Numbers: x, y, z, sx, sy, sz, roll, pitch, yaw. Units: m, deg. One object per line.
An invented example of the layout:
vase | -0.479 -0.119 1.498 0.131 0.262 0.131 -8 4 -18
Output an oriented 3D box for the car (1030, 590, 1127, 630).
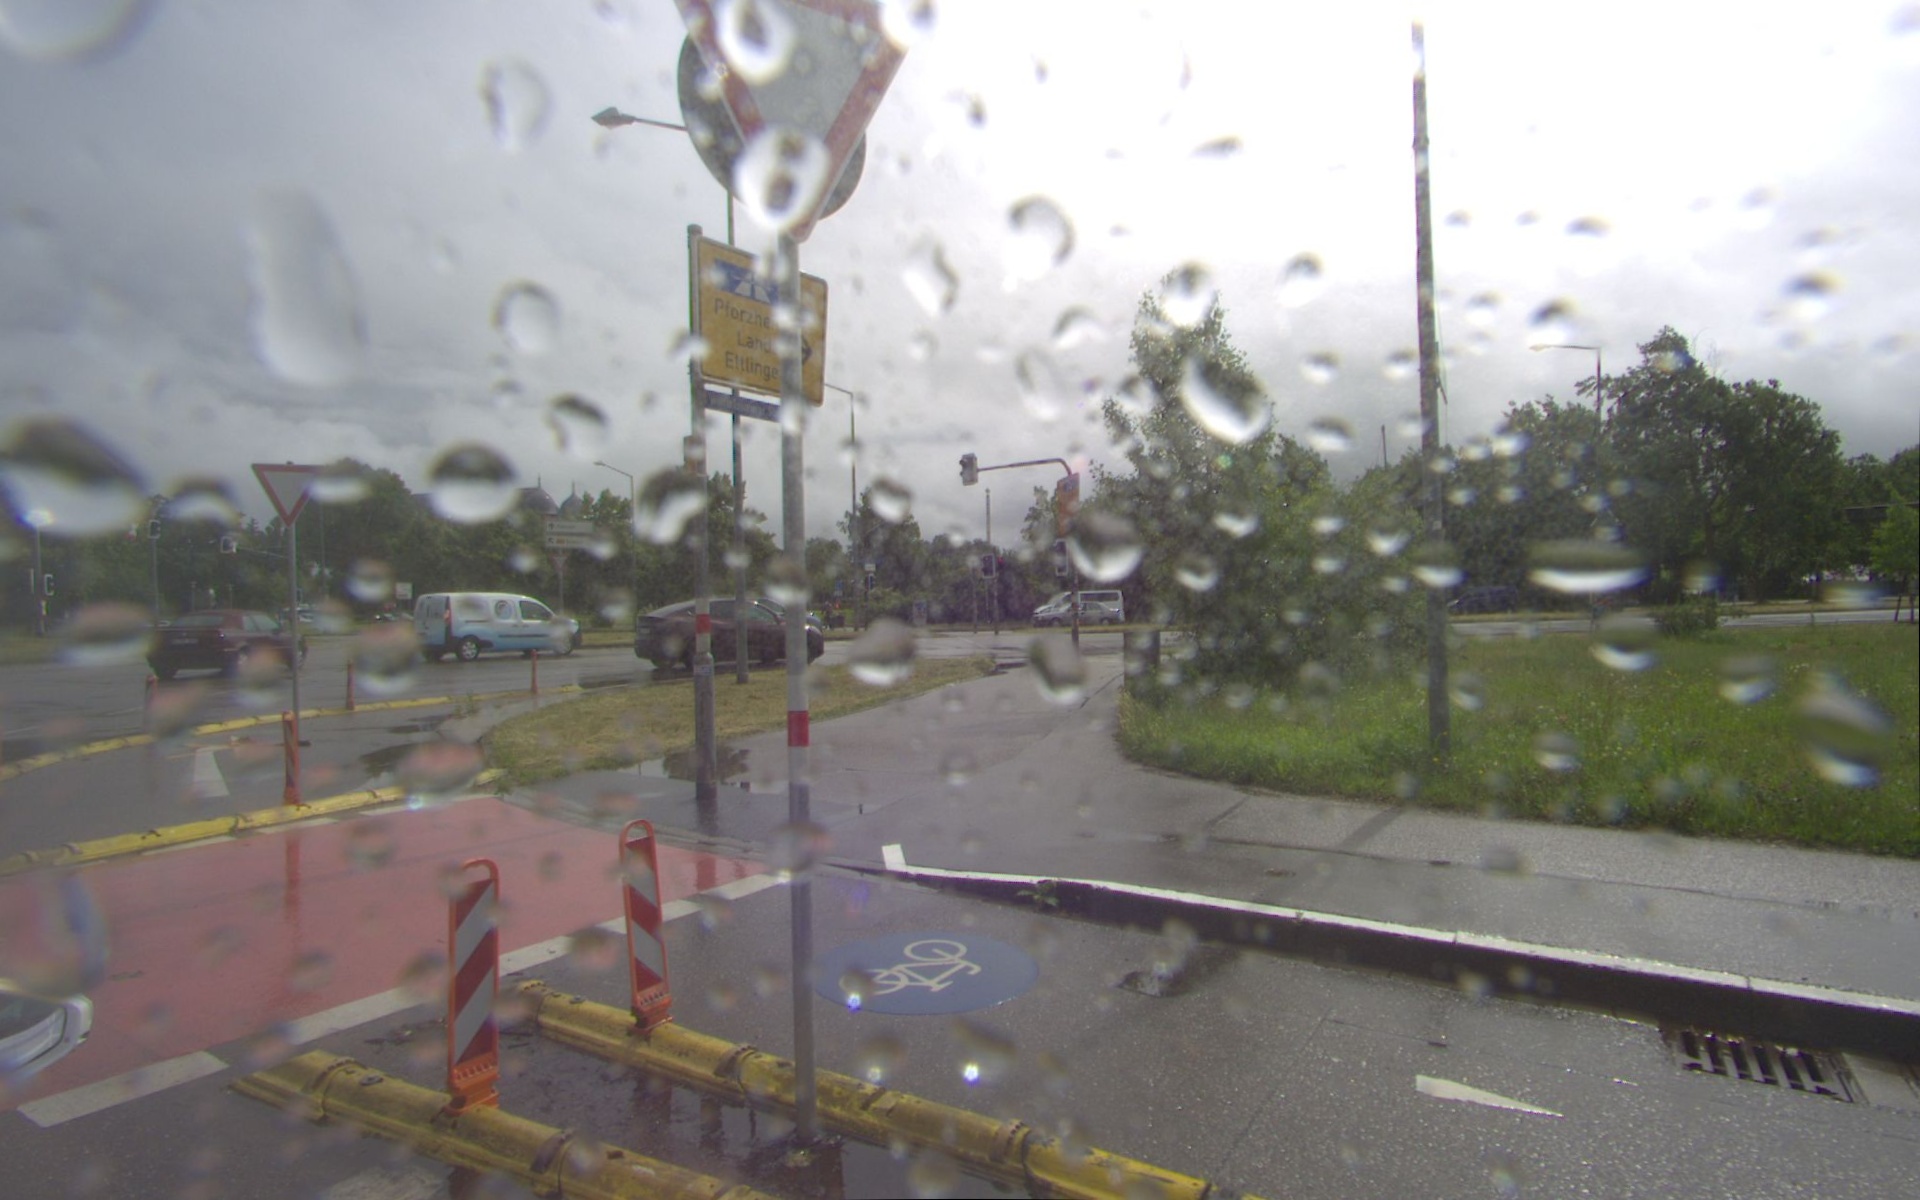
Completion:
car | 6.274 0.506 53.271 4.714 2.014 2.075 0 1 -16

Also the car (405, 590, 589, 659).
car | -12.982 0.614 28.380 1.839 1.786 4.530 0 1 30

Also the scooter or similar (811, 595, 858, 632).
scooter or similar | -7.177 0.793 57.116 1.224 2.039 3.387 1 -2 -35

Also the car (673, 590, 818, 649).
car | -7.069 0.586 33.201 4.270 1.781 2.026 -1 2 -38

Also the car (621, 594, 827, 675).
car | -5.544 0.735 23.920 4.453 1.679 1.857 -2 2 -44

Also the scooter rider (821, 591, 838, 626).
scooter rider | -7.530 0.500 57.753 0.698 2.039 0.765 1 -1 -38

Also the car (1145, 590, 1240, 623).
car | 11.972 0.303 51.571 4.406 1.556 1.864 -2 1 -15

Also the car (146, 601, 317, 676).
car | -16.411 0.801 22.807 1.688 1.482 3.994 -1 1 -13

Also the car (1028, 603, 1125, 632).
car | 5.801 0.856 50.091 4.469 1.399 1.864 0 1 -15
